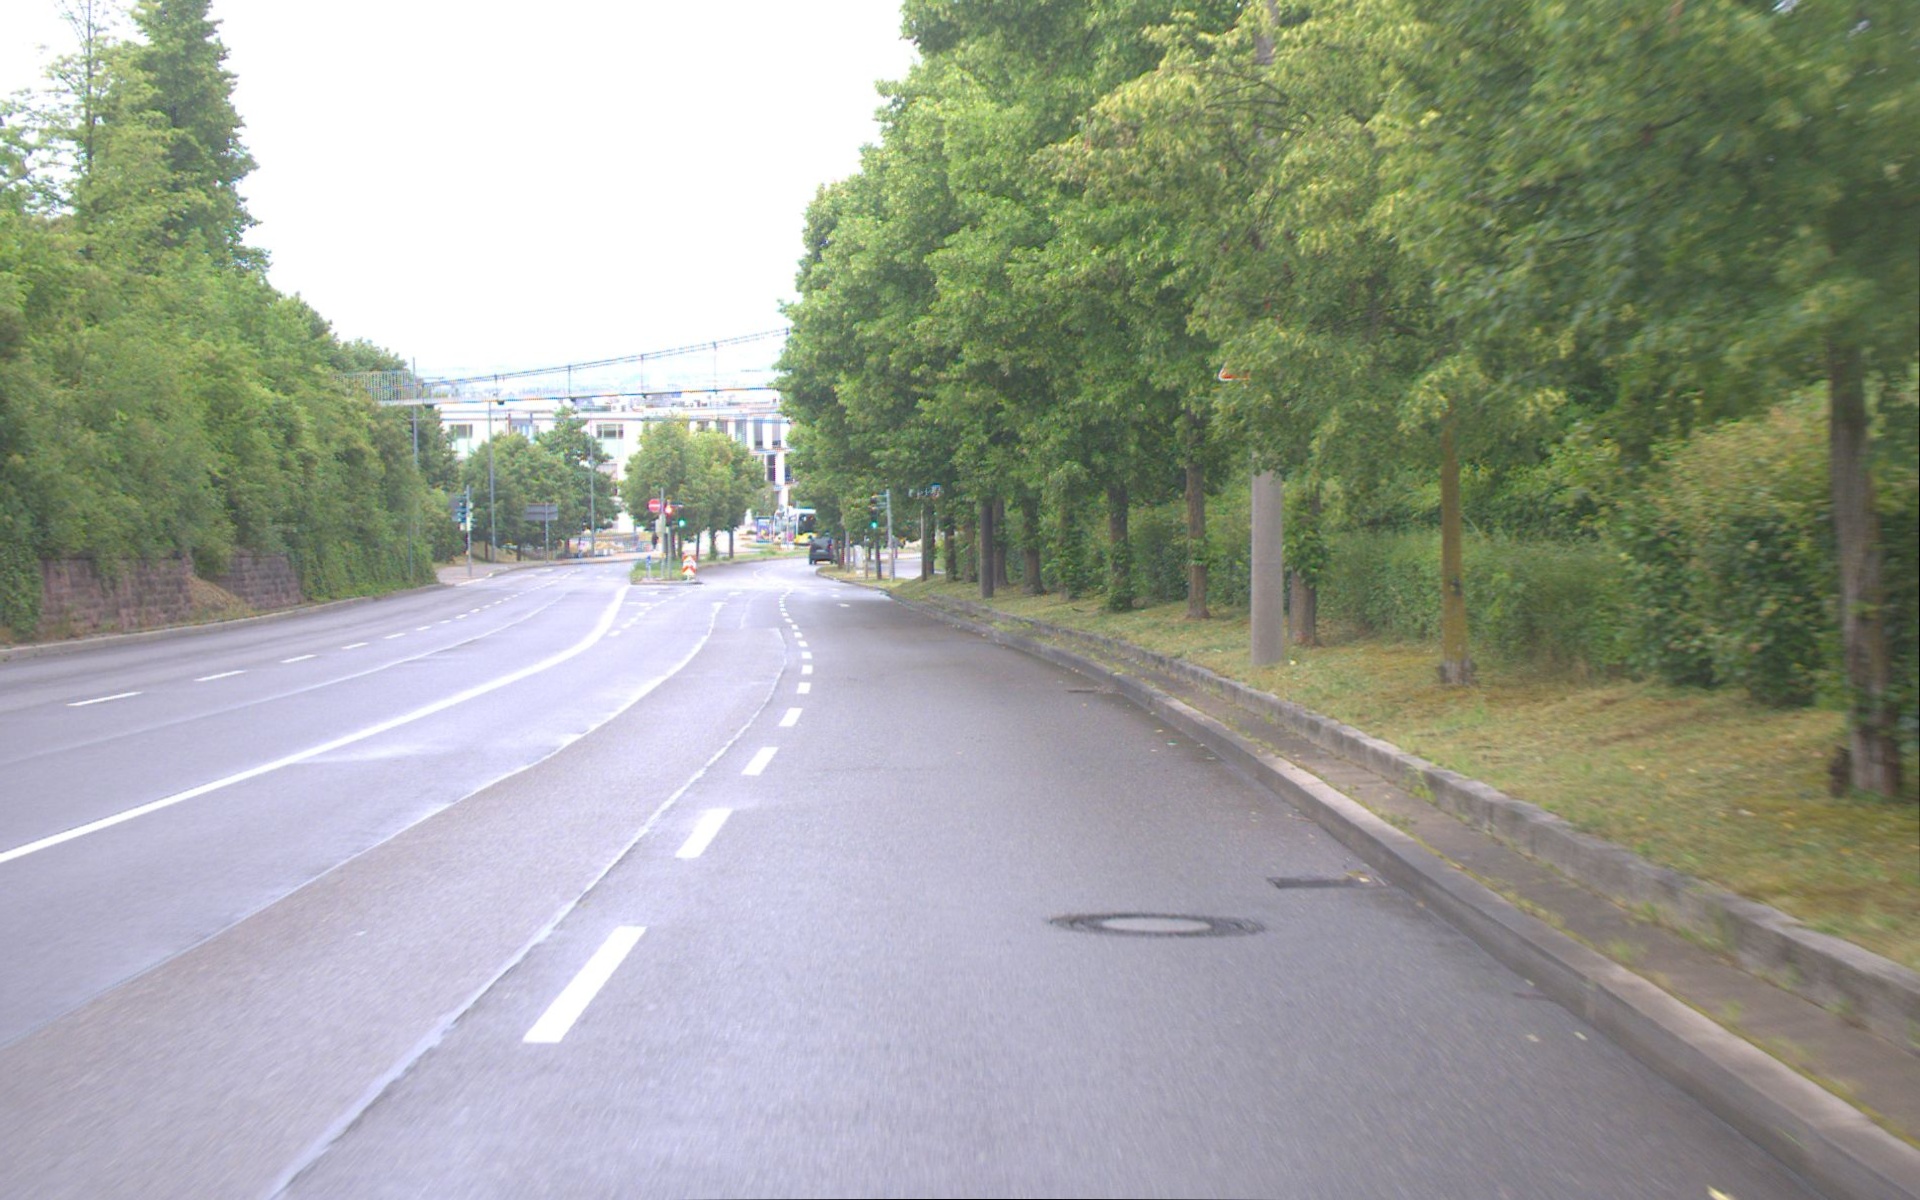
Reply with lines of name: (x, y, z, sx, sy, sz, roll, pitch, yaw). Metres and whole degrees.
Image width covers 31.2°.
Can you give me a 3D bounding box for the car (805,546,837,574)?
car: (-9.280, -2.661, 229.435, 1.849, 1.696, 3.793, 2, -1, 1)
